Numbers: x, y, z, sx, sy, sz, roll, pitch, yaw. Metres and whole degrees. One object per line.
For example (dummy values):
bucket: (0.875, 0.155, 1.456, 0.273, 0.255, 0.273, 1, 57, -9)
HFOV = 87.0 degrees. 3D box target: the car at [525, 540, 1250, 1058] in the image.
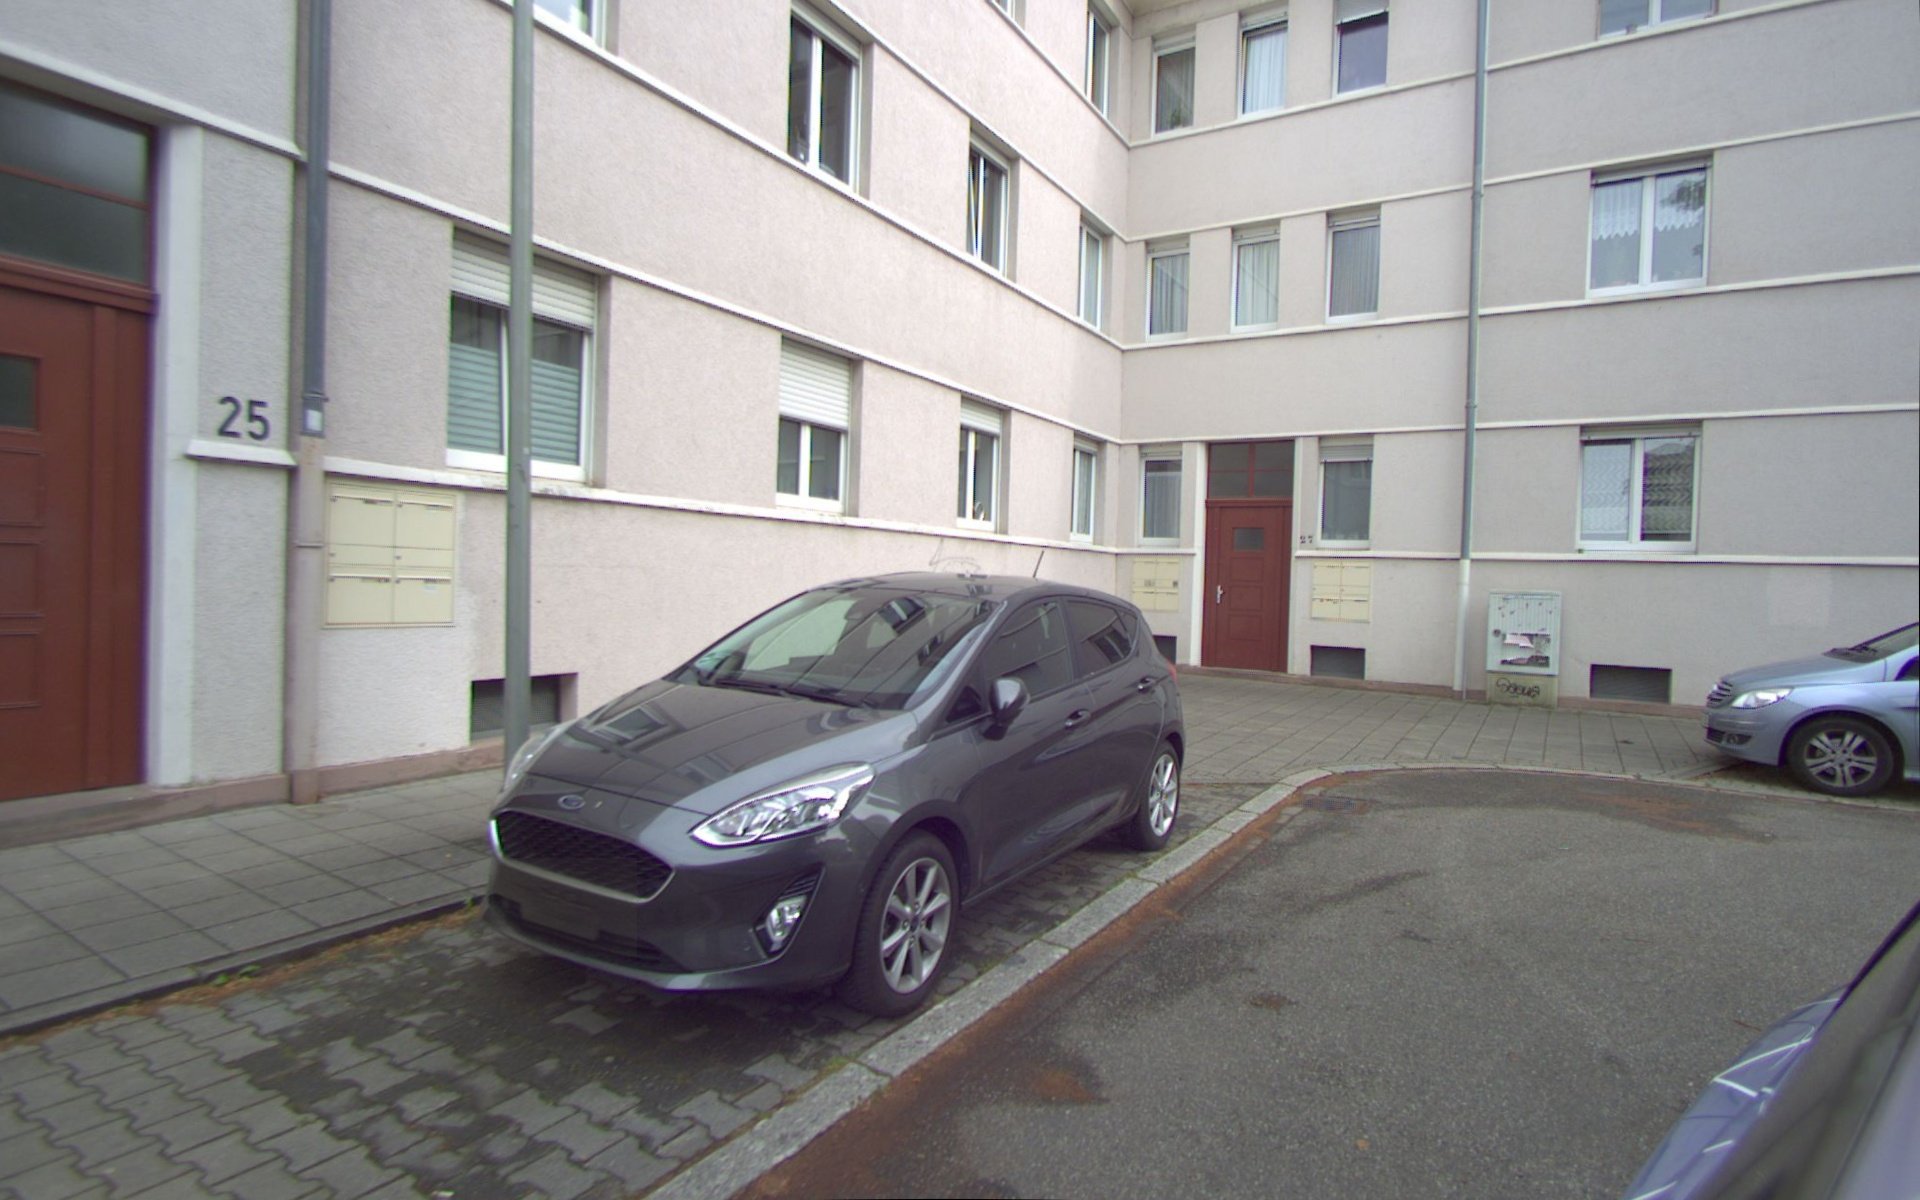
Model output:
car: (0.080, 0.582, 5.259, 1.748, 1.544, 4.034, 3, 1, 30)

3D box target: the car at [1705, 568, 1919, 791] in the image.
car: (8.331, 0.613, 7.723, 4.173, 1.648, 1.740, 2, 1, 35)
